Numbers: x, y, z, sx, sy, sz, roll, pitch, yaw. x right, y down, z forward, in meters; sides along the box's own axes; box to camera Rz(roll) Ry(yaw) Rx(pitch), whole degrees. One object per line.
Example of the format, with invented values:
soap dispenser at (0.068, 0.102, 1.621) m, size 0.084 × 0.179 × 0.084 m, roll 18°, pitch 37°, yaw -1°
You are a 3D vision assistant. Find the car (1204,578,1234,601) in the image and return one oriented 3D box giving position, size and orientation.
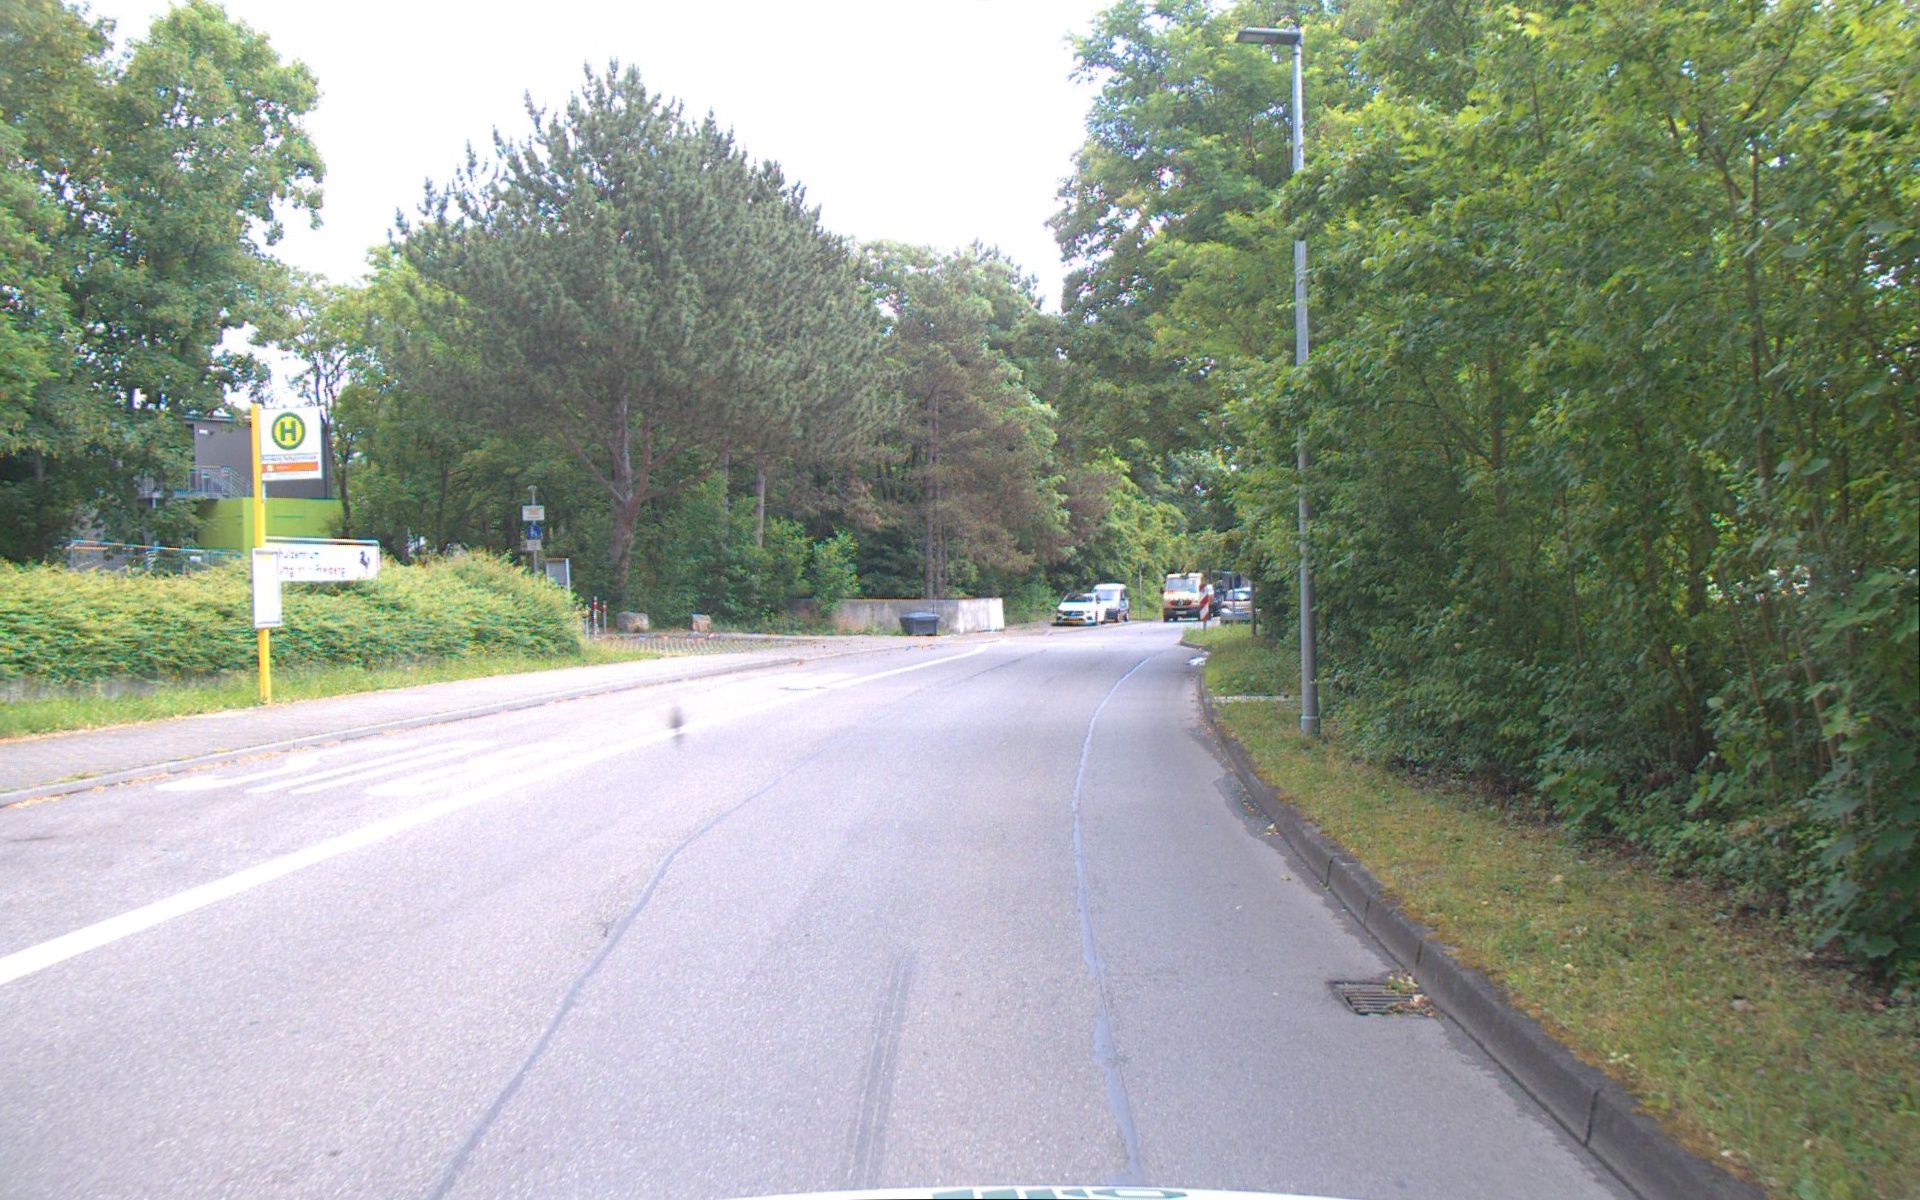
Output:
car at (26.385, -1.094, 168.777) m, size 1.956 × 2.060 × 3.995 m, roll -5°, pitch 2°, yaw -6°

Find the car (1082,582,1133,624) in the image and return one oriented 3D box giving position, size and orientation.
car at (7.128, 0.121, 79.696) m, size 1.684 × 1.955 × 4.108 m, roll 0°, pitch 1°, yaw 16°

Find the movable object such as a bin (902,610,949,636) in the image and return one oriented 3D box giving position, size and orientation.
movable object such as a bin at (-1.041, 0.692, 49.949) m, size 1.128 × 0.773 × 1.042 m, roll 1°, pitch -1°, yaw -23°

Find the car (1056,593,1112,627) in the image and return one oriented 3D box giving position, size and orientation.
car at (5.504, 0.404, 73.067) m, size 1.767 × 1.427 × 4.375 m, roll 0°, pitch 1°, yaw 13°

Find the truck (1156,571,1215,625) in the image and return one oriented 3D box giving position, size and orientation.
truck at (11.163, -0.130, 81.413) m, size 2.273 × 2.513 × 6.025 m, roll 1°, pitch 1°, yaw 13°

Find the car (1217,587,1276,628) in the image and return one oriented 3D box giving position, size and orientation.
car at (10.871, 0.274, 62.573) m, size 1.755 × 1.435 × 4.062 m, roll -2°, pitch 0°, yaw 15°
